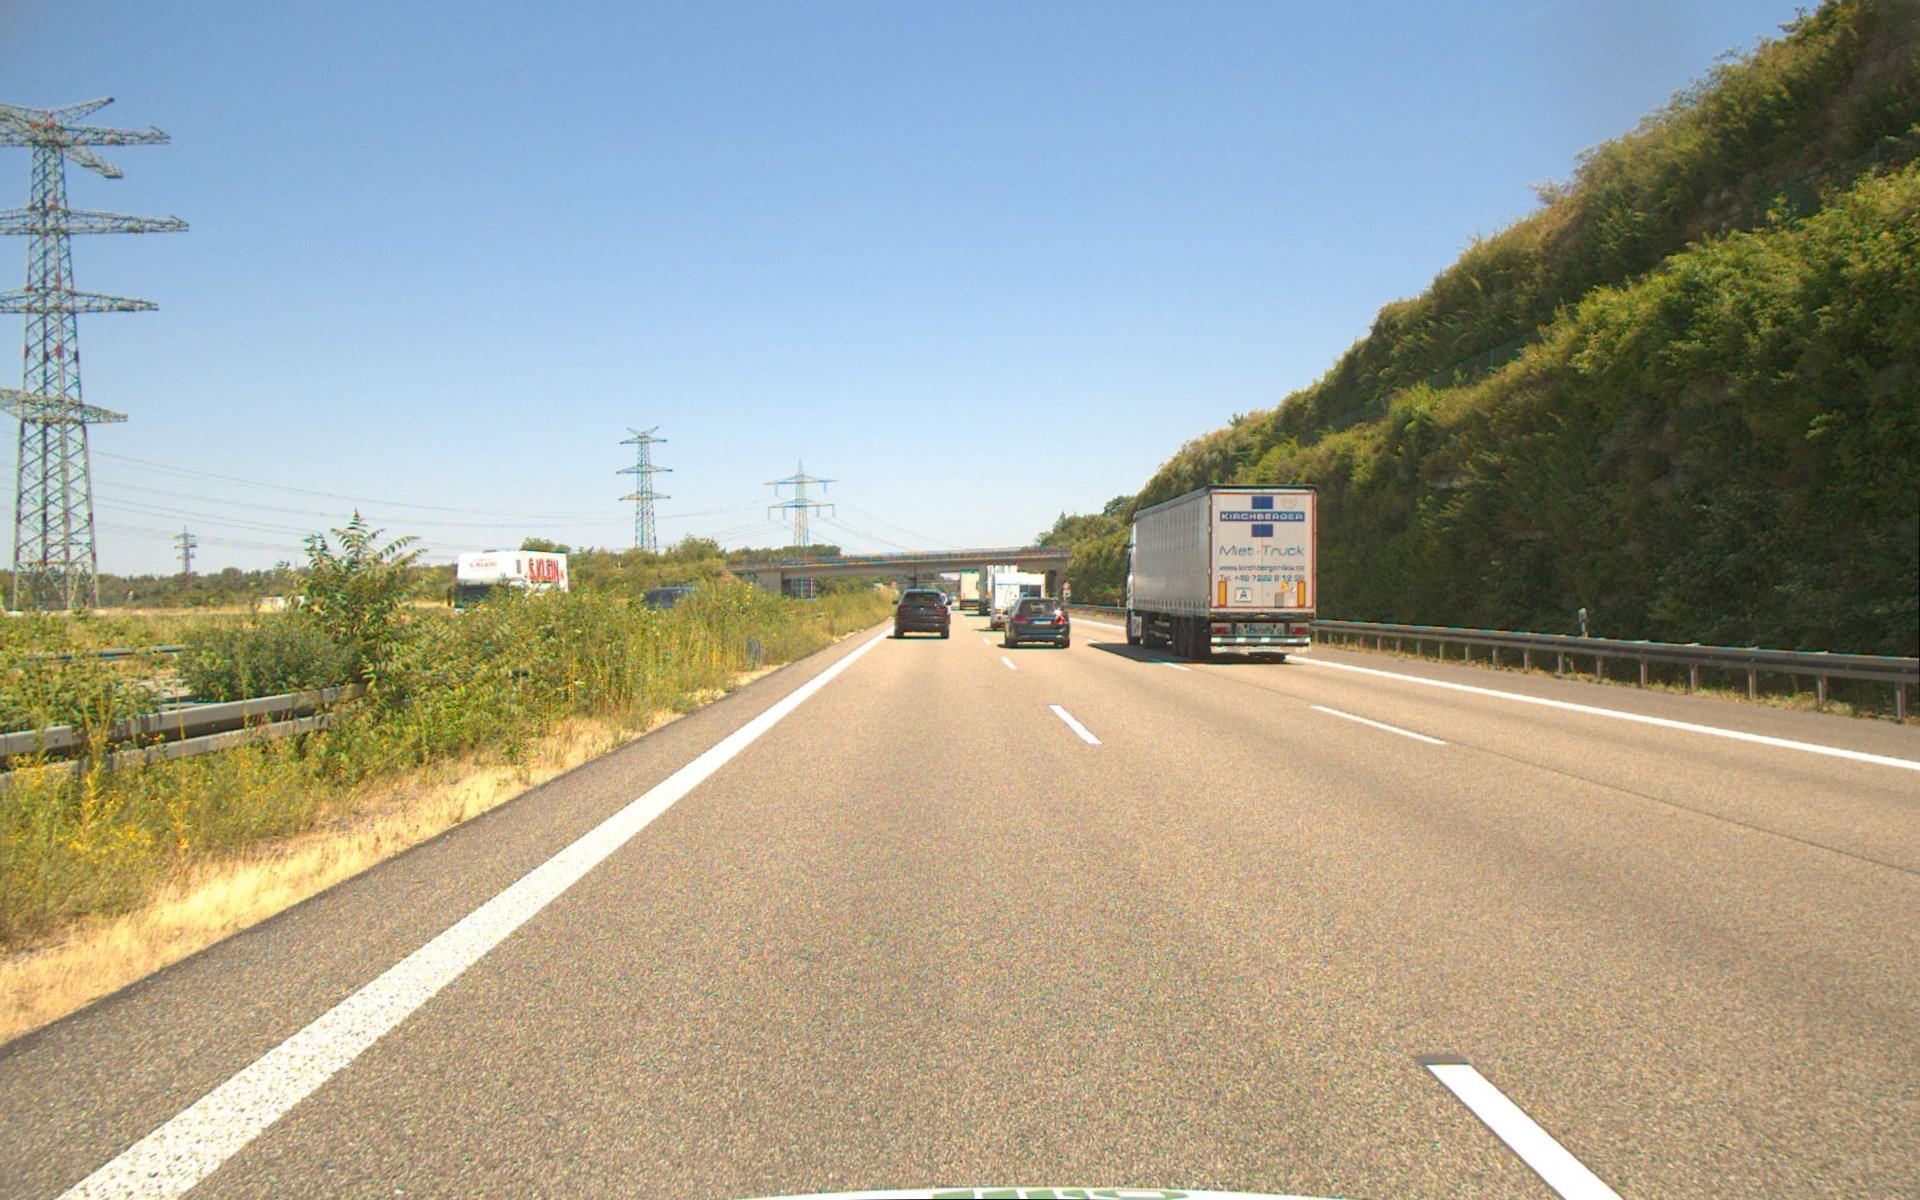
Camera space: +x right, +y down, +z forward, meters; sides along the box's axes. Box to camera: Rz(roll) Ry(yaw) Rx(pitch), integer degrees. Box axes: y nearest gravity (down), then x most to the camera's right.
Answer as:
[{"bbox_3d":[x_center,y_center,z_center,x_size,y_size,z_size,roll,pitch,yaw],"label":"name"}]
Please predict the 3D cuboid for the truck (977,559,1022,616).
[{"bbox_3d":[3.113,-0.966,132.877,3.056,4.355,11.931,-1,0,-1],"label":"truck"}]

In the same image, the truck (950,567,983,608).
[{"bbox_3d":[0.703,-1.339,182.315,3.340,4.355,10.605,-1,0,-1],"label":"truck"}]

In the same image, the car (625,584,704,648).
[{"bbox_3d":[-10.072,0.510,56.759,1.953,2.049,5.116,-1,0,-2],"label":"car"}]

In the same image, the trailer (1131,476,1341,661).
[{"bbox_3d":[7.004,-0.753,44.509,3.118,4.193,13.428,-1,0,-1],"label":"trailer"}]

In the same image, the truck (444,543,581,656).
[{"bbox_3d":[-18.195,-0.030,68.081,2.815,4.249,10.567,-1,0,-1],"label":"truck"}]

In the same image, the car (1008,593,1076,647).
[{"bbox_3d":[2.423,0.573,49.928,1.792,1.552,3.999,-1,0,-1],"label":"car"}]

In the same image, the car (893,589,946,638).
[{"bbox_3d":[-1.469,0.464,59.710,1.793,1.700,3.999,-1,0,-2],"label":"car"}]

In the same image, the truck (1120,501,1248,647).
[{"bbox_3d":[6.812,-0.774,51.047,3.072,4.214,5.502,-1,0,-1],"label":"truck"}]

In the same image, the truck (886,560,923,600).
[{"bbox_3d":[-6.074,-2.116,181.083,3.881,4.185,9.949,-1,0,-2],"label":"truck"}]

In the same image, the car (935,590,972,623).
[{"bbox_3d":[-0.383,0.333,90.269,1.793,1.700,3.998,-1,0,-3],"label":"car"}]

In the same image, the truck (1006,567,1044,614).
[{"bbox_3d":[6.224,-0.915,159.443,3.056,4.355,10.165,-1,0,-1],"label":"truck"}]

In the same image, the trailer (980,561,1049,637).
[{"bbox_3d":[2.441,-0.068,76.884,2.558,3.269,9.949,-1,0,-2],"label":"trailer"}]
